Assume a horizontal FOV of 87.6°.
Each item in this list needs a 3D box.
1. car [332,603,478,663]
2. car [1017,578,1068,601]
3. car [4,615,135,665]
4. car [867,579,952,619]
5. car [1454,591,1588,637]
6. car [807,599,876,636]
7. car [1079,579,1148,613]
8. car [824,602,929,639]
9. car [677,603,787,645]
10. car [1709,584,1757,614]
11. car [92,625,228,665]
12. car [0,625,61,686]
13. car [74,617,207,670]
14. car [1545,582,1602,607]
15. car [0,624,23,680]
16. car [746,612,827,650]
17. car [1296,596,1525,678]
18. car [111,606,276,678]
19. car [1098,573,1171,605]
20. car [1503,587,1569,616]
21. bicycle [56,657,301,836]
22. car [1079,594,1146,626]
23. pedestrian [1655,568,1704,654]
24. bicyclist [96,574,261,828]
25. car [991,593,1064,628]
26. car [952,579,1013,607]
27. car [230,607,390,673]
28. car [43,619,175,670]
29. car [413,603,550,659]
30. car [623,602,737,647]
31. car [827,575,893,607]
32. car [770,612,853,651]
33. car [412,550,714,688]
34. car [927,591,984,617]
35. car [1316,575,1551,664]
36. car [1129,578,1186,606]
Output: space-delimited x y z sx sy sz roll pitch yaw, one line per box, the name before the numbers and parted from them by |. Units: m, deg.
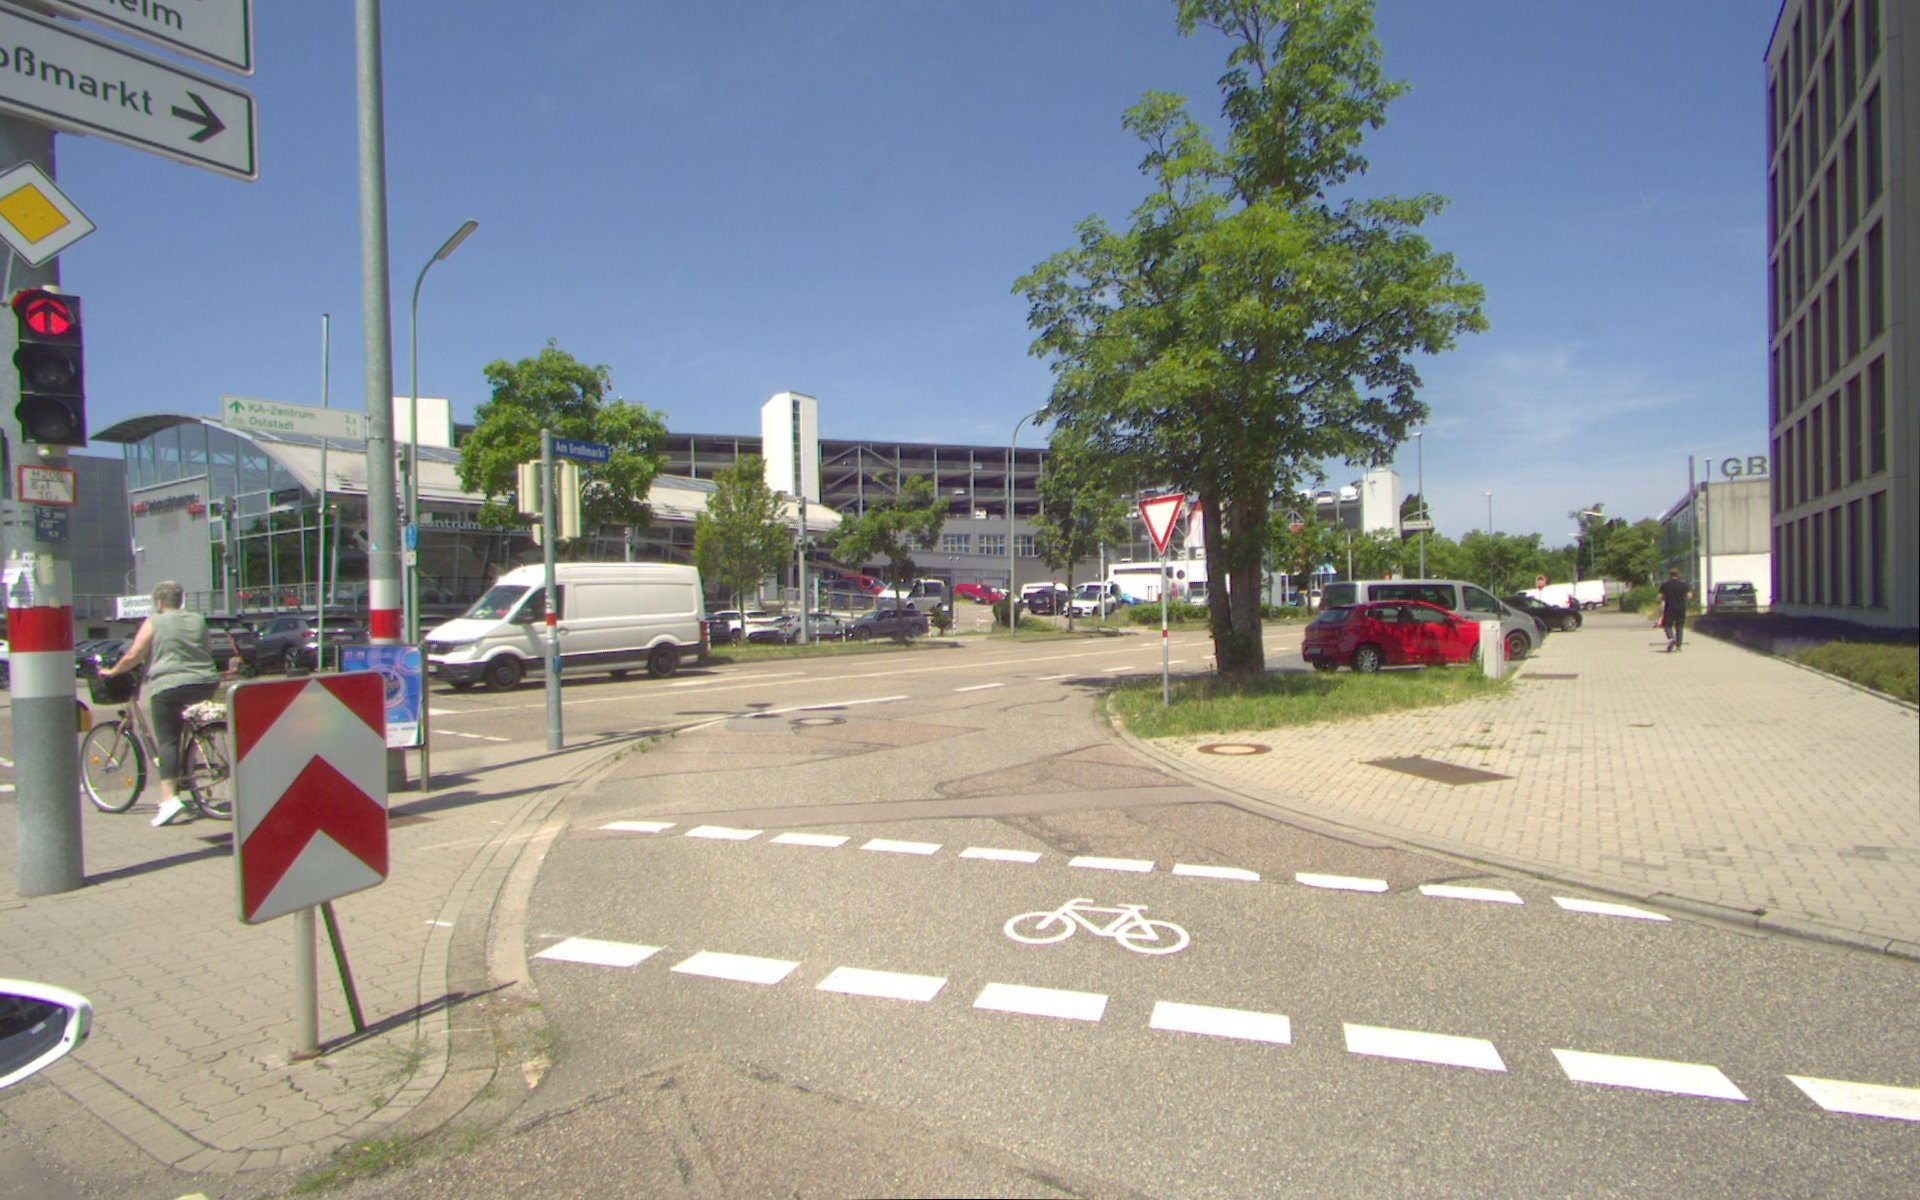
car | -16.738 0.962 30.171 4.377 1.661 1.989 -1 1 32
car | 7.539 -0.929 91.877 4.257 2.040 1.989 -1 0 32
car | -39.686 1.759 44.689 1.972 2.040 3.977 -1 0 33
car | -2.644 -0.065 53.923 1.972 2.040 5.117 -1 0 32
car | 21.618 0.551 38.678 4.075 1.558 1.815 -3 -1 2
car | -6.869 0.979 58.223 1.839 2.040 3.733 -1 0 41
car | 9.748 -0.245 63.548 3.943 2.040 1.840 -1 0 32
car | -3.941 0.939 47.659 4.702 1.662 1.821 -1 1 -35
car | -9.430 0.963 41.310 4.410 1.662 1.823 -1 1 32
car | 42.093 -0.042 54.568 1.765 1.542 3.556 -2 0 33
car | -32.925 1.796 41.316 1.694 1.480 4.083 0 0 33
car | -25.111 1.395 24.176 1.973 1.476 4.729 0 0 34
car | -34.820 1.813 42.636 1.972 2.040 3.977 -1 0 33
car | 55.243 -0.522 90.193 4.304 2.149 2.080 -1 0 36
car | -27.381 1.428 25.578 1.973 1.476 4.729 -2 -1 34
car | -8.887 1.559 51.387 3.712 1.795 1.761 -1 0 -28
car | 8.968 0.703 20.072 3.924 1.454 1.609 -2 0 -8
car | -19.413 1.005 25.335 4.207 1.661 1.989 -1 0 32
car | 12.000 -0.743 68.892 4.578 2.040 1.989 -1 0 32
car | 41.689 0.130 72.518 3.949 2.040 1.986 -1 0 37
bicycle | -5.921 1.035 7.569 1.891 1.142 0.786 0 0 29
car | 10.201 0.669 66.950 3.943 2.040 1.989 -1 0 32
pedestrian | 16.089 0.254 22.389 0.764 1.869 0.861 -2 0 40
bicyclist | -5.834 0.717 7.490 0.742 1.772 0.733 0 0 28
car | 4.070 0.638 60.699 3.943 2.040 1.989 -1 0 32
car | 1.745 -0.556 77.890 4.286 2.040 1.990 -1 0 30
car | -17.912 1.037 27.540 4.492 1.661 1.989 -1 0 32
car | -37.275 1.903 43.948 1.972 2.040 3.977 -1 0 33
car | -15.417 0.961 32.186 4.460 1.662 1.881 -1 1 32
car | -10.958 0.940 39.119 4.410 1.662 1.823 -1 1 32
car | -6.702 -0.583 67.331 3.937 2.040 1.992 -1 0 27
car | -7.308 1.513 49.334 3.659 1.801 1.739 -1 0 -31
car | -8.293 0.393 21.503 2.078 2.567 5.756 -1 -1 40
car | -0.347 0.289 74.393 3.943 1.810 1.730 -1 0 32
car | 10.920 0.435 23.194 4.814 1.839 1.704 -2 0 -10
car | 15.435 -0.594 78.321 3.945 2.040 1.988 -1 0 34
